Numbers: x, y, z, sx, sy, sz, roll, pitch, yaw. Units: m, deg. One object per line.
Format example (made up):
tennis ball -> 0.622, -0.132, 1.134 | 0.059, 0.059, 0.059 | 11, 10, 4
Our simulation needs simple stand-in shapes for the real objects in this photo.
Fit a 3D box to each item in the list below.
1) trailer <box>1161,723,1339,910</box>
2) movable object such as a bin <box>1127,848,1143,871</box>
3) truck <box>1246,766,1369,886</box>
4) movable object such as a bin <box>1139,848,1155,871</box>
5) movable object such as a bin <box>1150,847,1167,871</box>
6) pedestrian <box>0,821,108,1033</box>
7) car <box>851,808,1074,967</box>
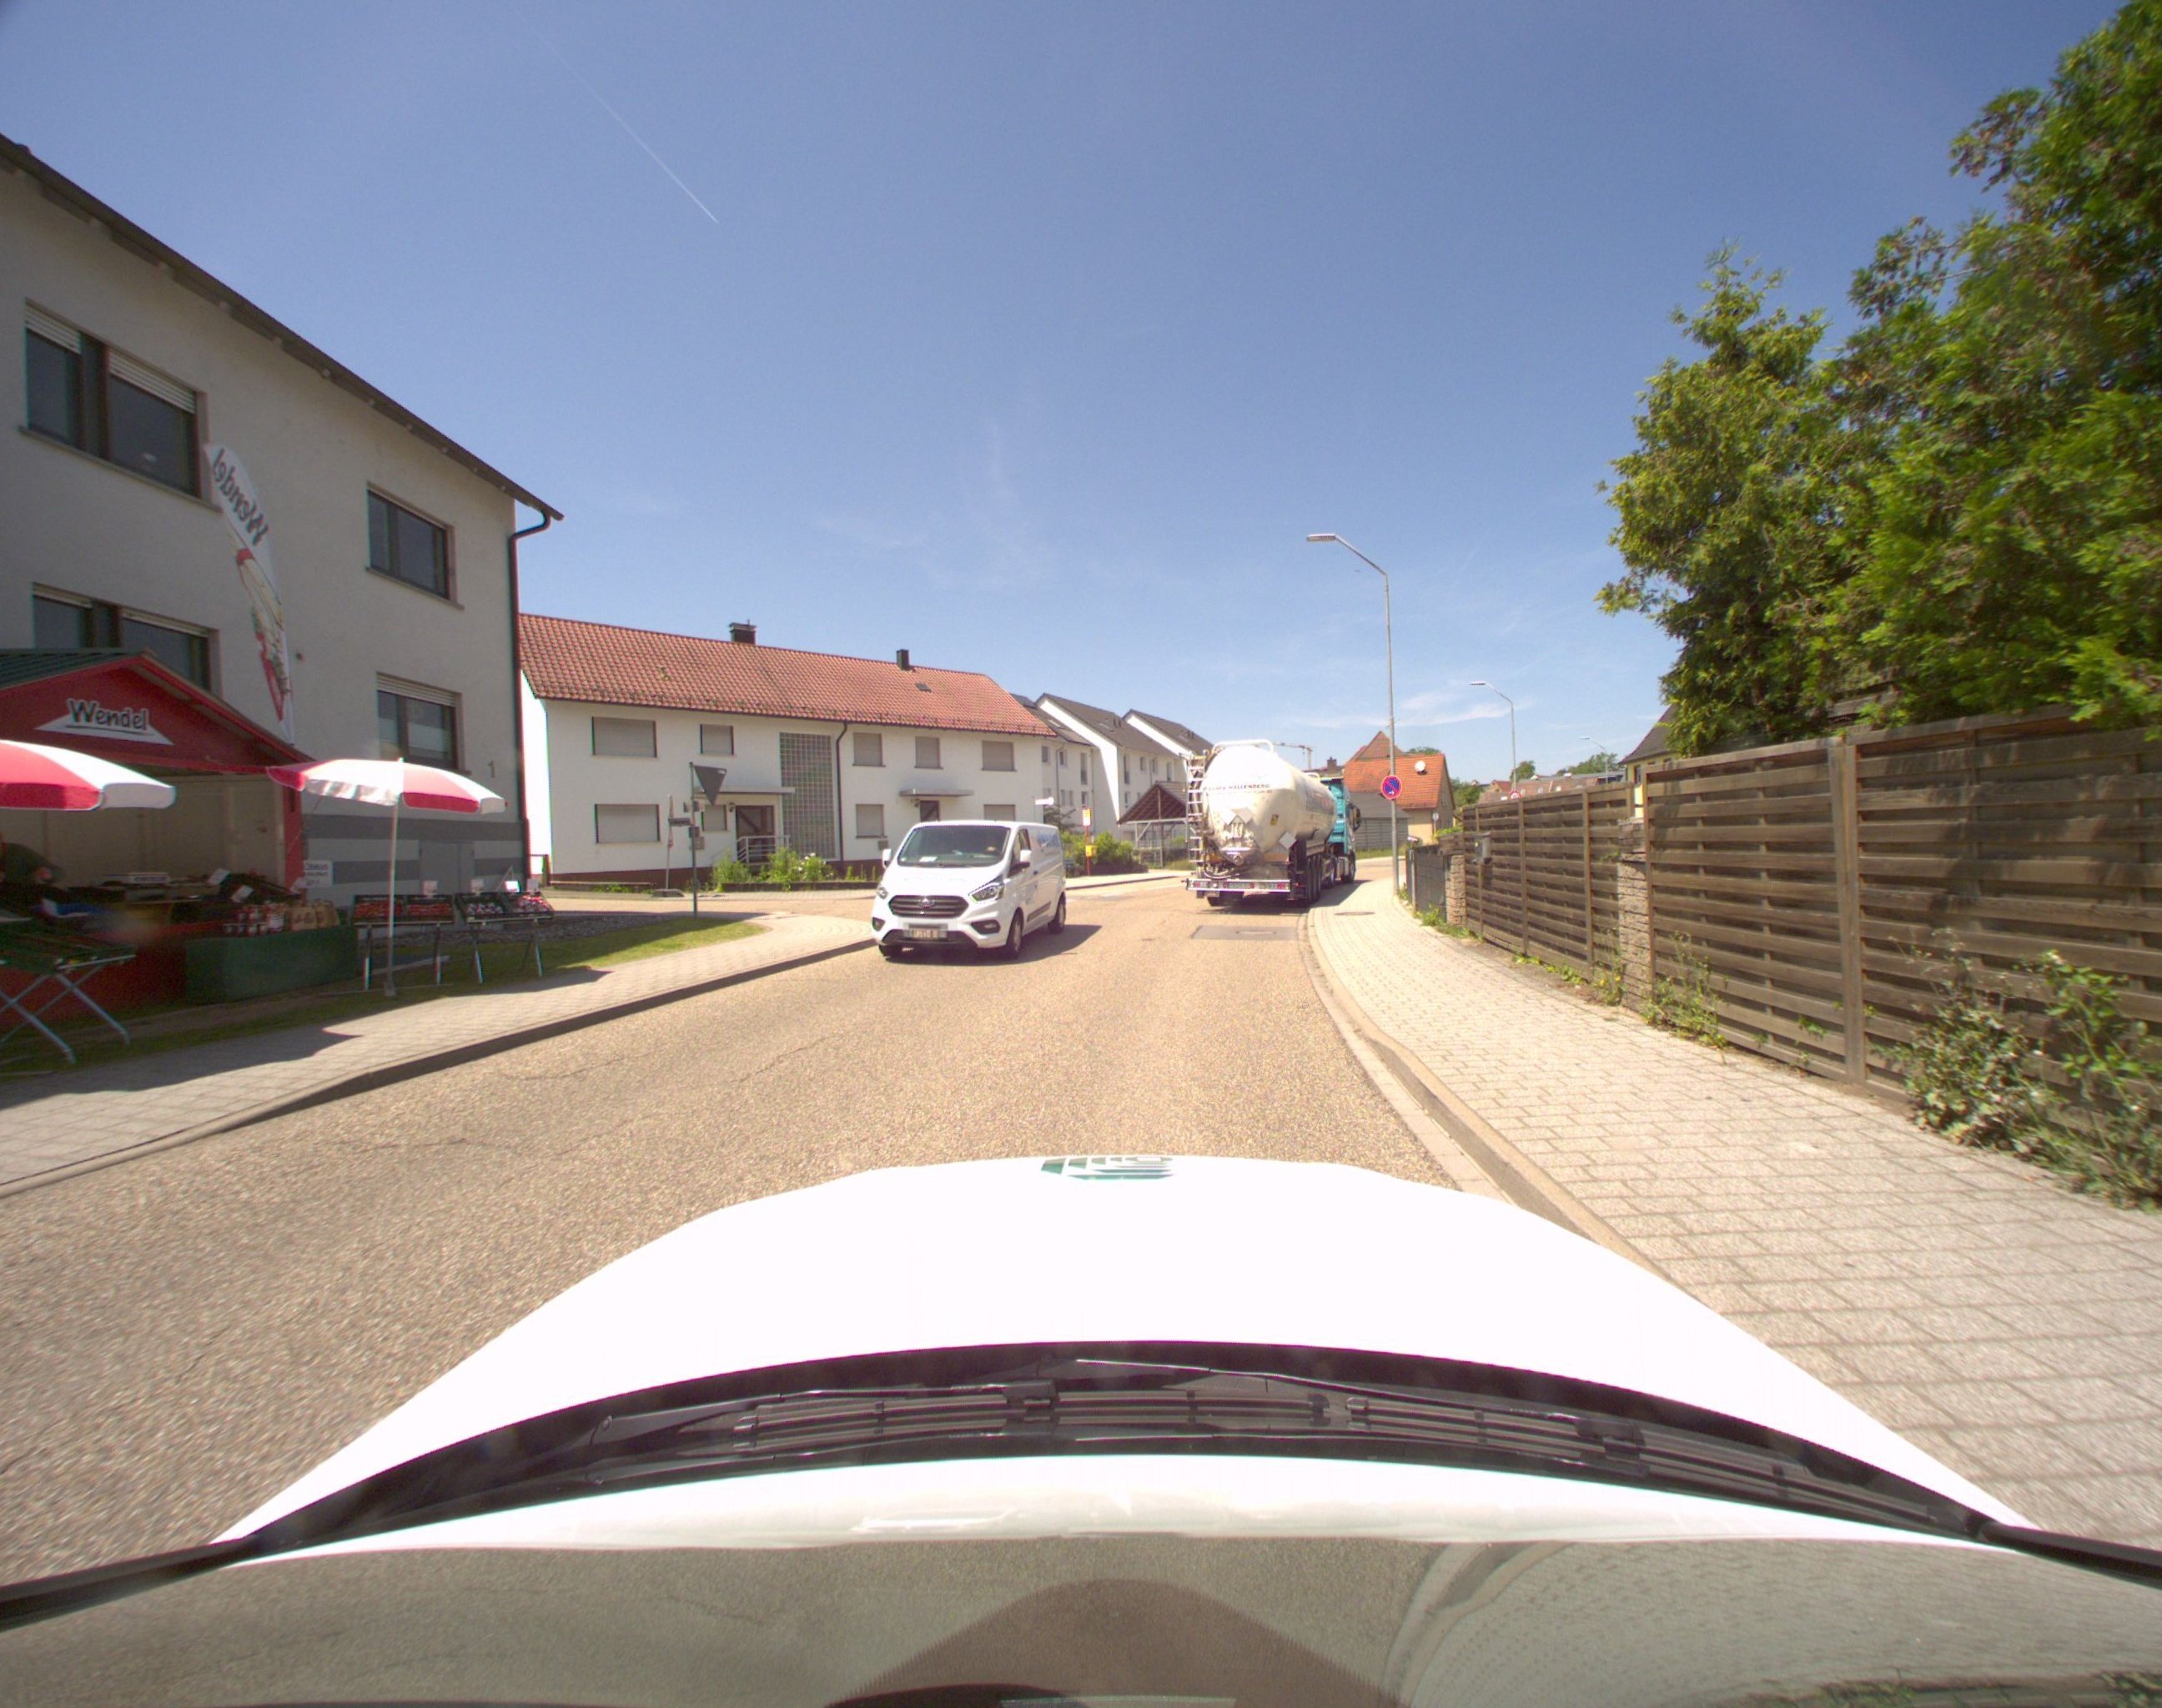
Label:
trailer -> 5.353, -0.849, 23.210 | 2.927, 3.947, 11.680 | -2, 0, 21
movable object such as a bin -> 3.081, 0.314, 46.358 | 0.634, 1.278, 0.698 | -1, 1, 41
truck -> 8.542, -0.936, 30.240 | 2.959, 3.965, 5.614 | -2, 0, 30
movable object such as a bin -> 3.715, 0.296, 45.871 | 0.634, 1.278, 0.698 | -1, 1, 41
movable object such as a bin -> 4.320, 0.277, 45.328 | 0.634, 1.278, 0.698 | -1, 1, 41
pedestrian -> -8.335, 0.553, 6.368 | 0.605, 1.587, 0.814 | -2, 0, 30
car -> -1.564, 0.383, 13.017 | 1.981, 1.999, 5.229 | 0, 1, 10
